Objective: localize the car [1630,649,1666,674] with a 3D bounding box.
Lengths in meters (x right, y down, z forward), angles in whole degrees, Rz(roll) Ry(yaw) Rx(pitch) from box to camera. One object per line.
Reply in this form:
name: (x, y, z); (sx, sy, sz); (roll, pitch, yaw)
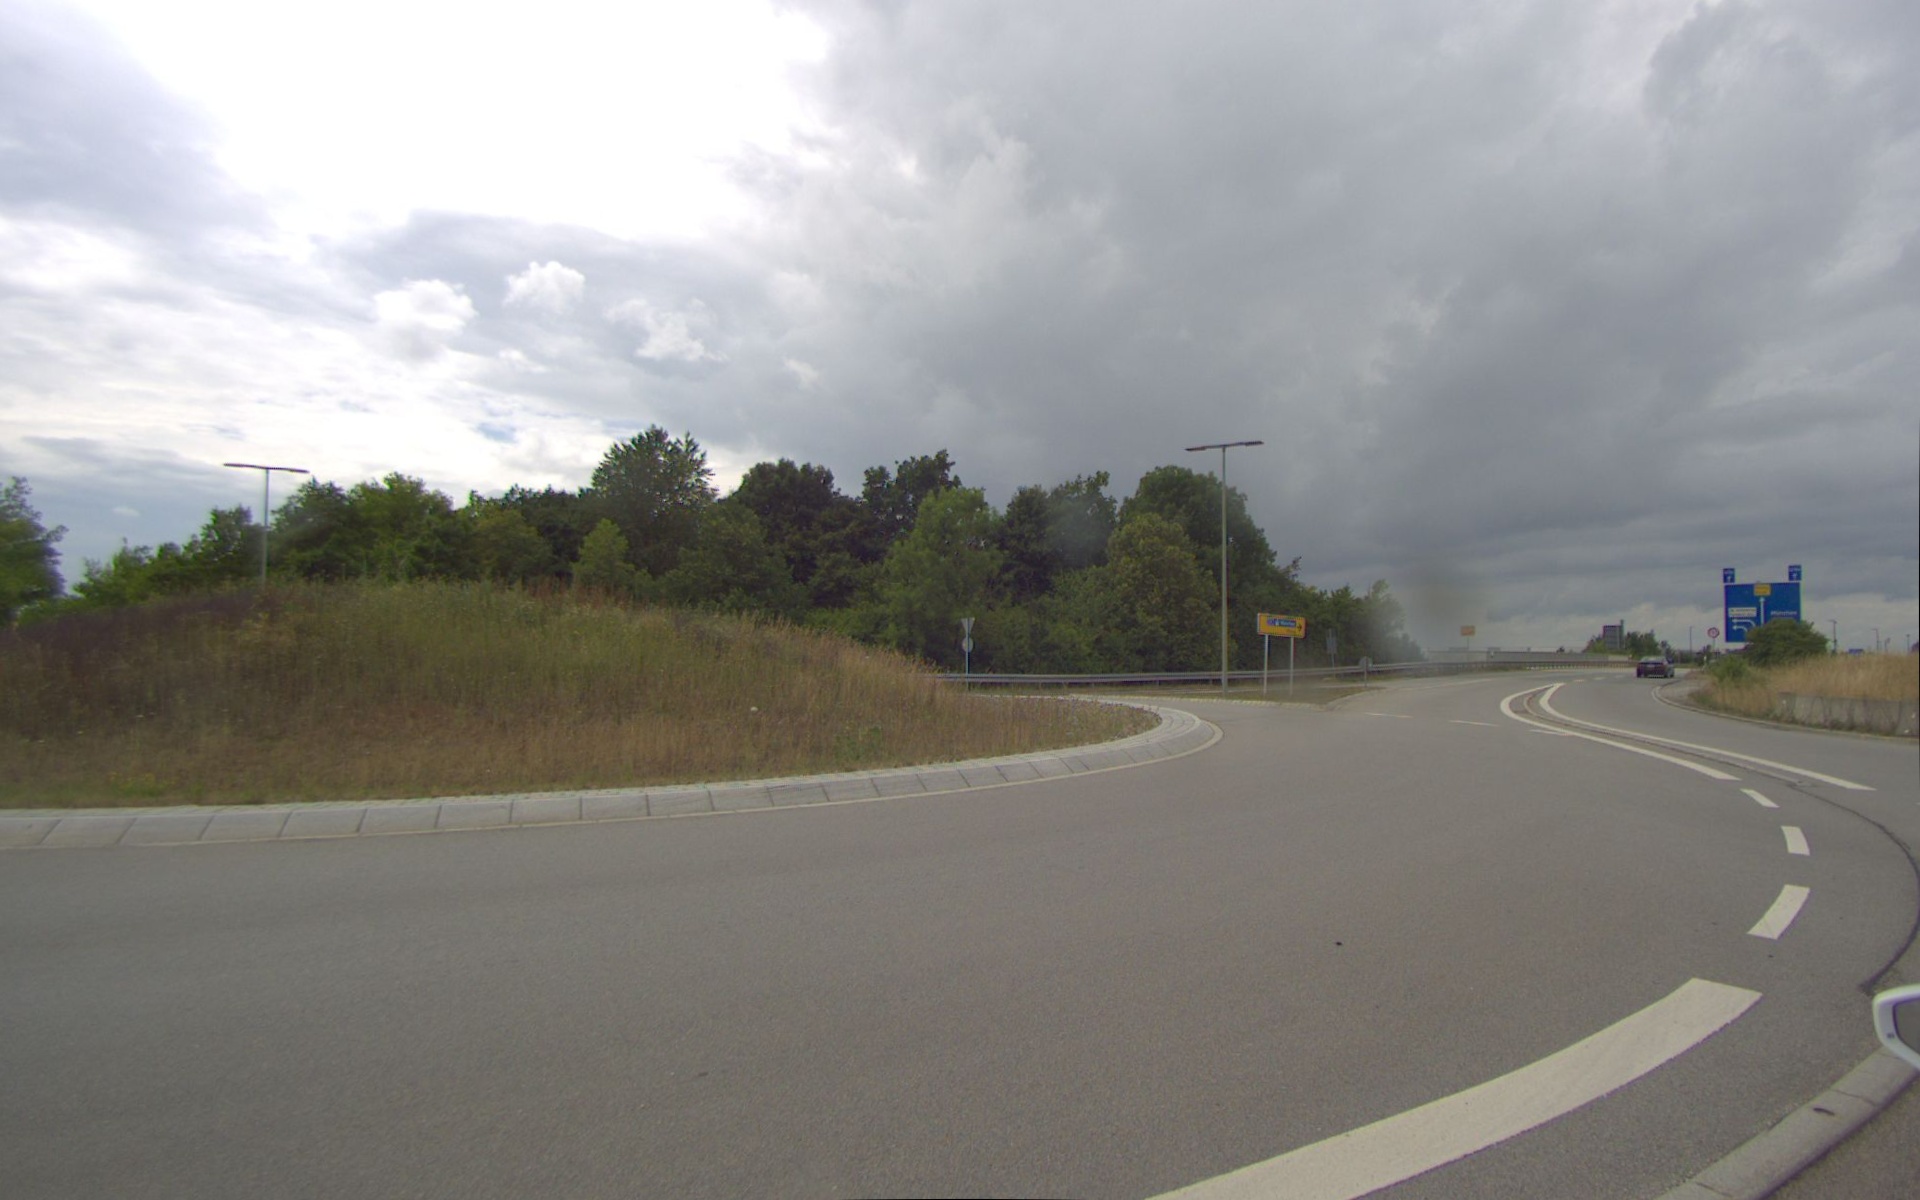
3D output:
car: (43.818, 3.909, 63.940); (1.501, 1.505, 3.598); (-1, -4, 41)
